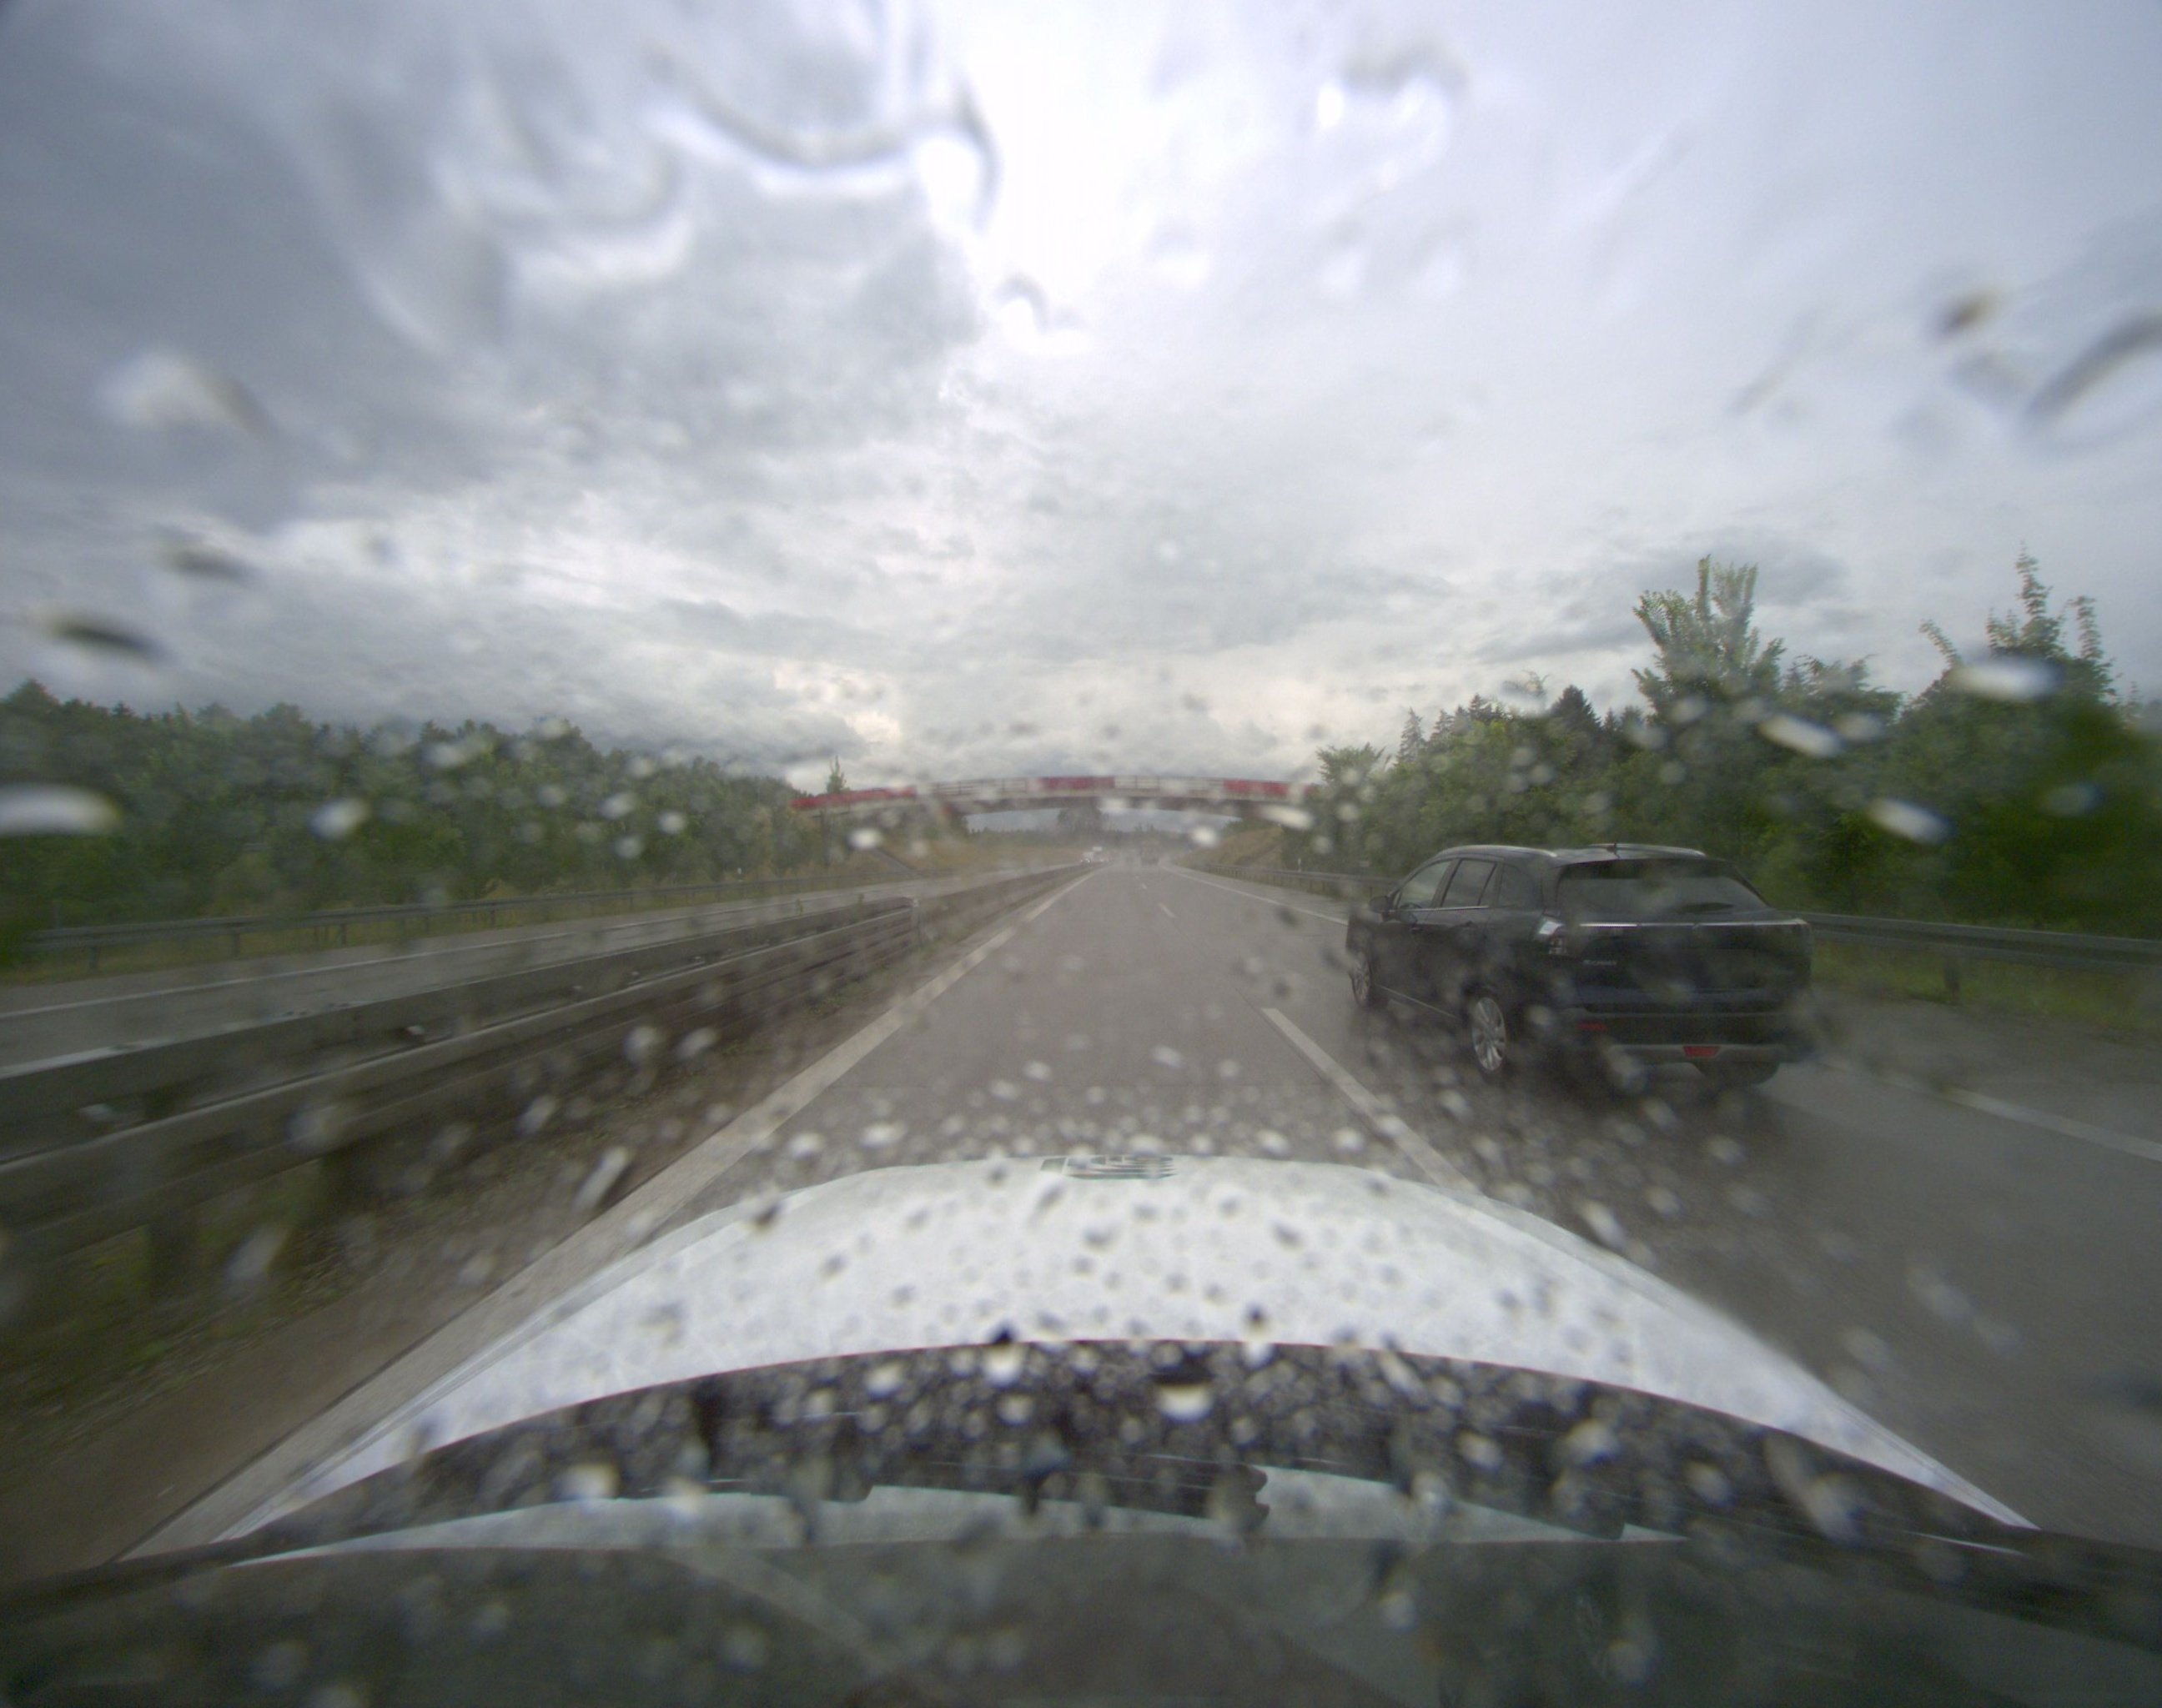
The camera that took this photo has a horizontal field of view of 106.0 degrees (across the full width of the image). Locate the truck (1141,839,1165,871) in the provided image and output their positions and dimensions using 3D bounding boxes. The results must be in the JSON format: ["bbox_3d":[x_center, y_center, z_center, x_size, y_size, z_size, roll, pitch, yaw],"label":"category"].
[{"bbox_3d":[10.767,0.118,121.167,3.226,4.437,8.263,-1,0,7],"label":"truck"}]

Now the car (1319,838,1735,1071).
[{"bbox_3d":[3.555,0.683,7.348,1.886,1.576,3.634,0,0,2],"label":"car"}]
